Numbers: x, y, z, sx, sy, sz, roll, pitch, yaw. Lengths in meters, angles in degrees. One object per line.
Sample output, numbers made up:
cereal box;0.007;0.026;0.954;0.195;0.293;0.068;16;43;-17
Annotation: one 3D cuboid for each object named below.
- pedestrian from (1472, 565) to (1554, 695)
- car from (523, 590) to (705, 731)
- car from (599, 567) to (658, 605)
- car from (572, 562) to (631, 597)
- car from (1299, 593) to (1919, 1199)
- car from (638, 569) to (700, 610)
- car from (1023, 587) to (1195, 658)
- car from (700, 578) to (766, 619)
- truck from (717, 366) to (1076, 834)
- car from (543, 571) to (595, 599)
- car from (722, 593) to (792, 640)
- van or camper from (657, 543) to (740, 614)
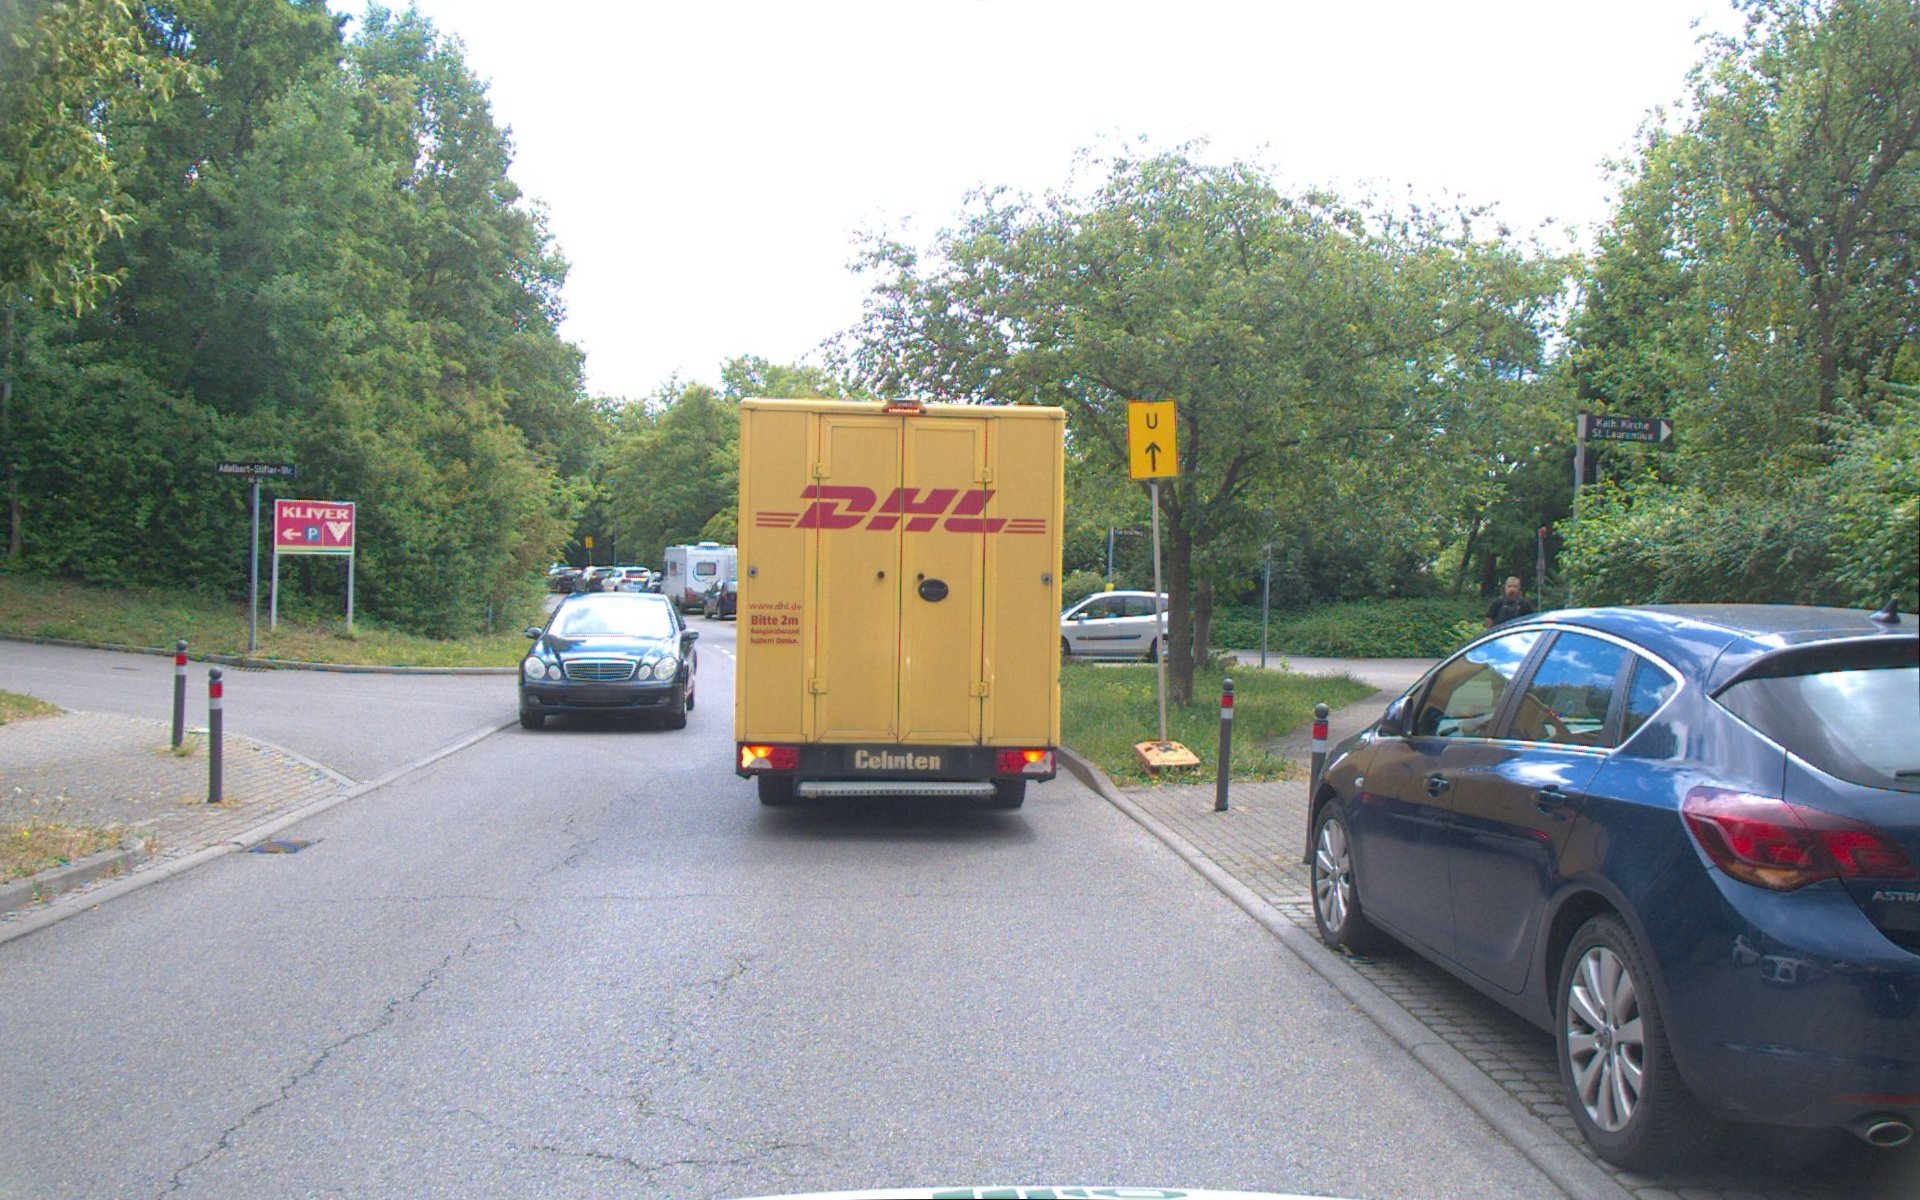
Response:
pedestrian;7.718;0.411;23.112;0.816;1.767;0.784;1;-1;-7
car;-3.910;0.618;19.293;1.719;1.444;4.361;1;0;-7
car;-16.663;-0.718;83.093;1.848;1.718;4.543;1;2;-25
car;-19.223;-1.112;88.564;1.971;1.654;4.240;-3;4;-28
car;2.492;0.709;5.655;1.657;1.445;3.998;1;0;-3
car;-13.570;-0.524;76.973;1.691;1.618;3.968;-7;4;-25
car;3.237;0.491;36.472;3.567;1.481;1.846;1;0;-2
car;-8.838;-0.068;64.112;1.704;1.545;3.865;-1;0;-21
truck;-0.536;-0.013;13.449;2.181;2.858;6.568;1;0;-3
car;-22.380;-0.885;94.556;1.780;1.489;3.957;0;2;-32
car;-7.022;0.535;56.907;1.747;1.459;4.314;0;1;-16
van or camper;-11.343;-0.955;71.277;2.299;2.919;6.113;1;1;-21
